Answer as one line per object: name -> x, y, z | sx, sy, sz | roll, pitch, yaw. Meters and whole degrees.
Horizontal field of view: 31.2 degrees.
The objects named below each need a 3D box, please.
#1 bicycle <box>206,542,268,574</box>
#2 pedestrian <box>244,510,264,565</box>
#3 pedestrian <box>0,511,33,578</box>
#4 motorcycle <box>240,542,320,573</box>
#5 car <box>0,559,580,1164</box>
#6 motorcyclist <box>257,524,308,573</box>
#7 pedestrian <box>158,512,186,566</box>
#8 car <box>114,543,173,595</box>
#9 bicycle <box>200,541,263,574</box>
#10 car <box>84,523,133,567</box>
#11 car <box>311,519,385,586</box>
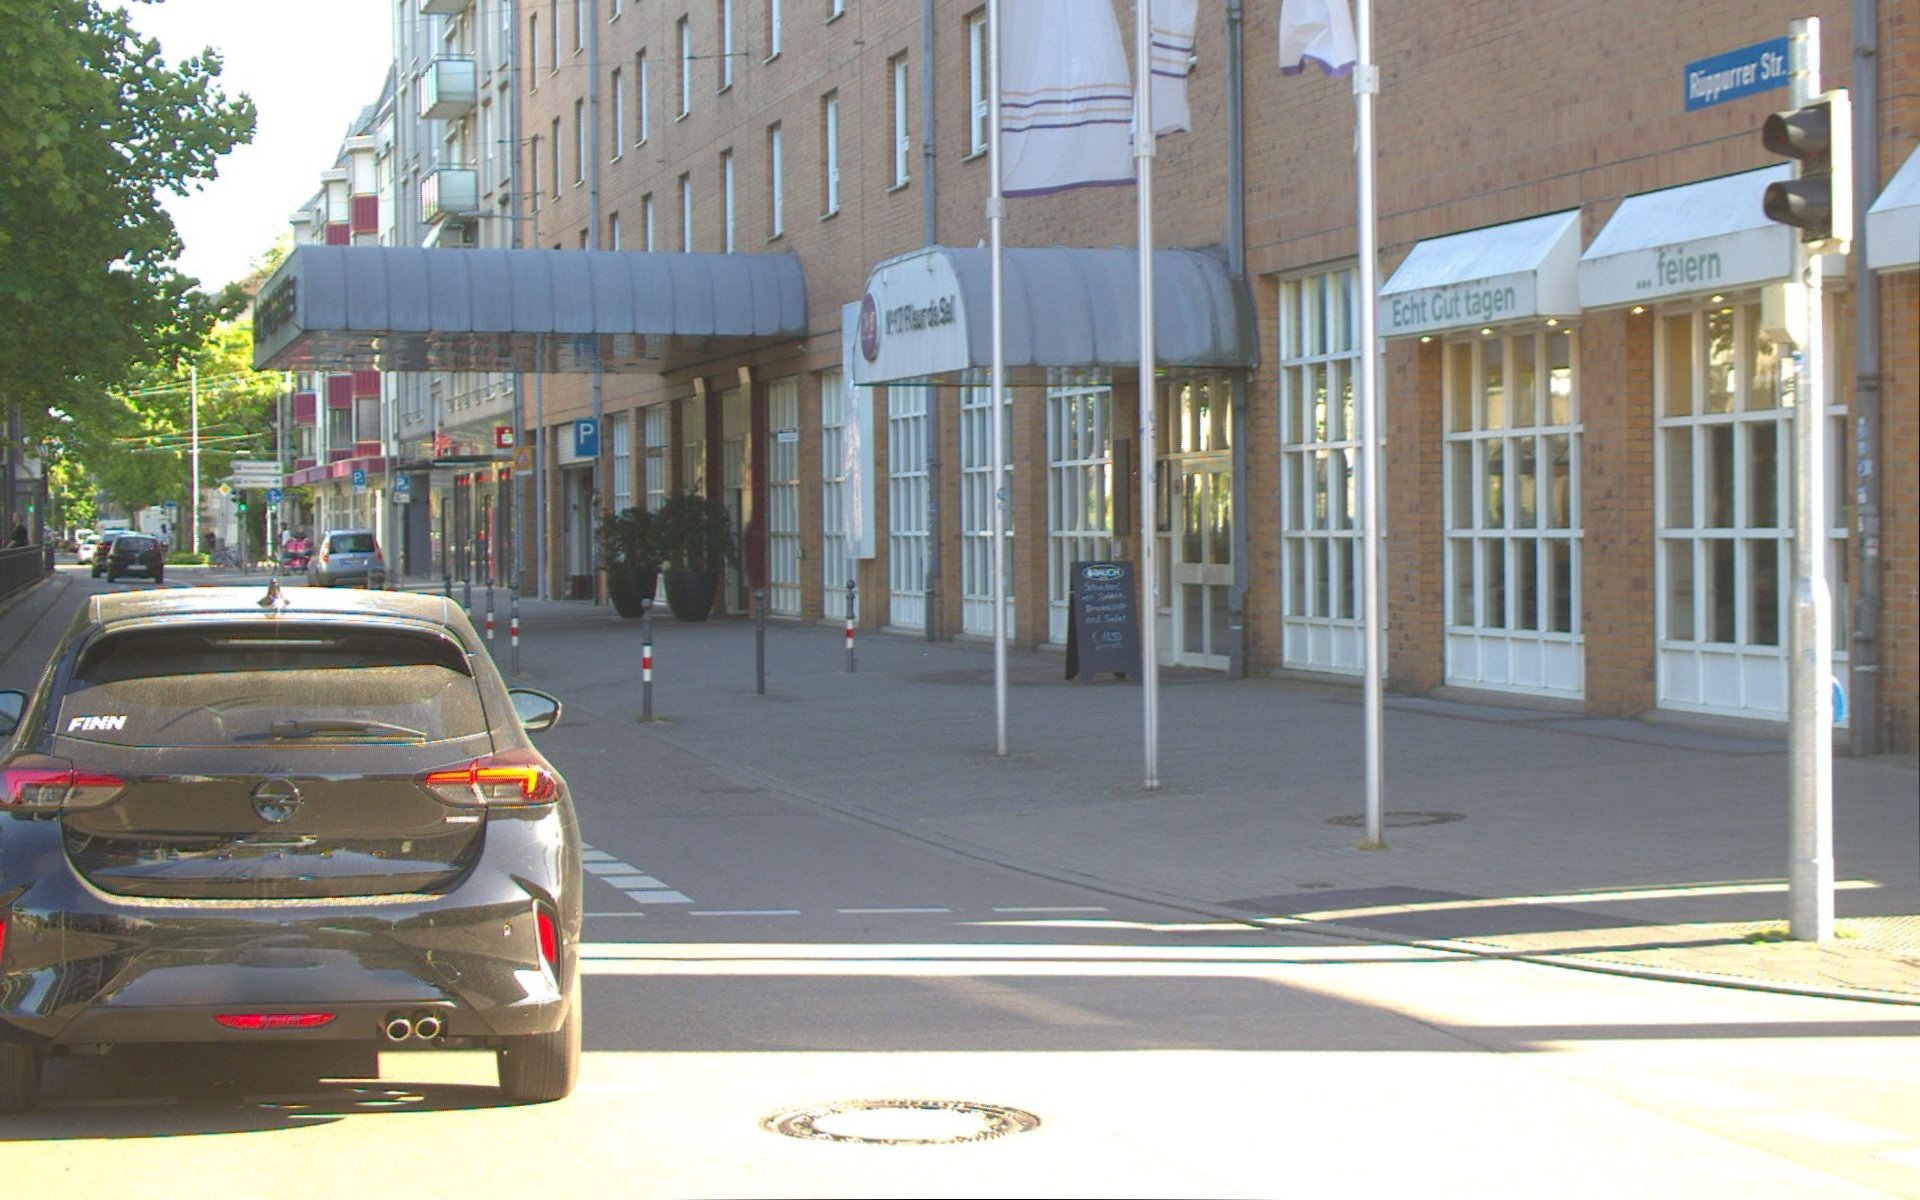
bicycle -> -28.096, -1.640, 133.579 | 2.355, 1.229, 0.684 | 1, 1, -12
pedestrian -> -36.446, -3.223, 177.565 | 0.916, 2.862, 1.151 | -1, 1, -15
pedestrian -> -20.612, -1.208, 74.976 | 0.722, 1.440, 0.627 | 0, 1, -17
motorcycle -> -23.928, -1.498, 120.970 | 1.305, 1.055, 3.096 | 0, 2, -44
car -> -2.143, 0.643, 10.637 | 1.671, 1.496, 3.691 | -1, 1, -10
motorcyclist -> -23.821, -1.814, 120.848 | 1.305, 1.692, 1.236 | 0, 2, -44
pedestrian -> -42.151, -3.258, 183.811 | 0.919, 2.862, 1.147 | 1, 1, 43
car -> -24.470, -0.938, 103.001 | 1.613, 1.496, 3.692 | 0, 1, -15
bicycle -> -27.938, -1.643, 131.815 | 2.355, 1.229, 0.684 | 1, 1, -12
car -> -30.157, -1.962, 121.750 | 1.613, 1.496, 3.692 | 0, 1, -15
car -> -15.679, -1.233, 87.956 | 1.671, 1.646, 3.692 | 1, 1, -13
